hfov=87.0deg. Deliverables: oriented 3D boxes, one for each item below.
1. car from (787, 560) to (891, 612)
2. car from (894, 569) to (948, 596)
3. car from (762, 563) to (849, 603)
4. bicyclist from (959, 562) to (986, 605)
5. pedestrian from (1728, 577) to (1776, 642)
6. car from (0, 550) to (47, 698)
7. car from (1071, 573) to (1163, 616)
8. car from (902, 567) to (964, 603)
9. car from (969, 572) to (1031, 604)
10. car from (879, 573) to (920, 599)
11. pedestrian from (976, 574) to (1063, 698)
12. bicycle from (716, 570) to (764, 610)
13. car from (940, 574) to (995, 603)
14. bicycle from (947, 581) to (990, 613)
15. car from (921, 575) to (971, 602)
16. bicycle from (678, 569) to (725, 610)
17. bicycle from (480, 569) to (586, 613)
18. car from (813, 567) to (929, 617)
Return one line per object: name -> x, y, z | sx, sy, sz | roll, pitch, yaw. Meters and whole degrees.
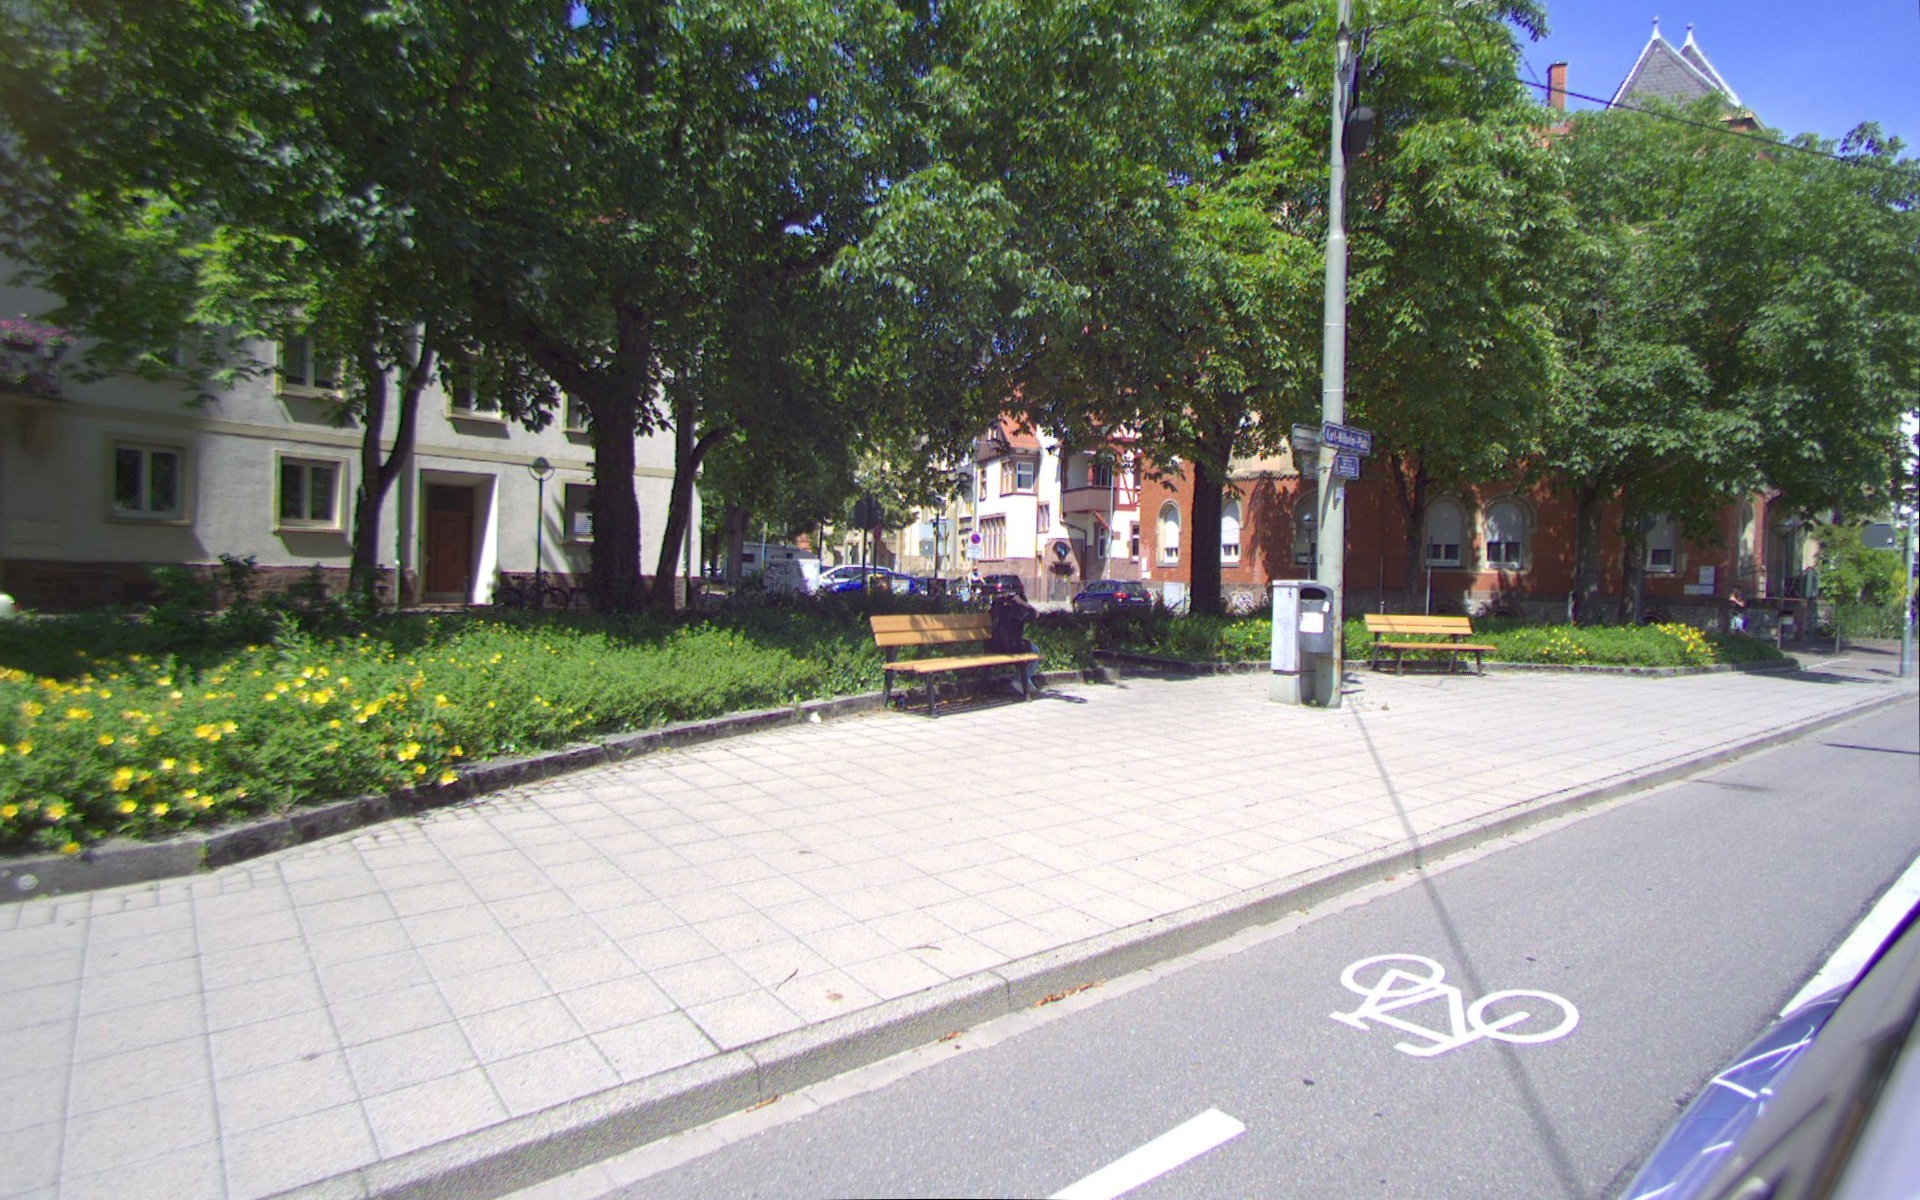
car -> -5.372, -0.632, 44.820 | 4.219, 2.219, 1.942 | 0, 0, -18
car -> -2.325, -0.993, 59.019 | 1.897, 1.501, 5.046 | 0, 0, -17
car -> -8.084, -0.888, 52.930 | 4.219, 2.029, 1.942 | 0, 0, -18
bicyclist -> 0.495, -0.672, 41.534 | 0.856, 1.717, 1.256 | 0, 0, -10
pedestrian -> 23.091, 0.278, 29.500 | 0.826, 1.846, 0.671 | 2, 1, 12
car -> -11.201, 0.218, 9.434 | 1.687, 1.525, 3.621 | 2, 1, 24
car -> 6.275, -0.234, 41.016 | 1.897, 1.638, 4.318 | 0, 0, -19
car -> -1.361, -0.713, 49.016 | 1.897, 1.638, 4.534 | 0, 0, -17
car -> 2.067, -0.622, 54.066 | 1.897, 1.638, 4.318 | 0, 0, -19
car -> -4.500, -1.011, 74.453 | 1.897, 1.897, 4.318 | 0, 0, -19
pedestrian -> 0.596, 0.335, 10.066 | 0.562, 1.156, 0.718 | 3, 2, 33
bicycle -> -5.869, -0.271, 26.896 | 0.736, 1.024, 2.273 | 0, 0, -26
car -> 0.381, -0.658, 58.673 | 1.897, 1.638, 4.318 | 0, 0, -19
bicycle -> 0.317, -0.147, 42.434 | 0.935, 1.279, 3.752 | 0, 0, -13
car -> -0.917, -0.695, 63.244 | 1.897, 1.638, 4.318 | 0, 0, -19
bicycle -> -6.777, -0.263, 26.467 | 0.736, 1.024, 2.273 | 0, 0, -26
bicycle -> -10.254, -0.226, 24.367 | 2.230, 1.024, 0.751 | -1, 0, -41
car -> -3.545, -0.325, 40.007 | 4.219, 1.903, 1.942 | 0, 0, -18
